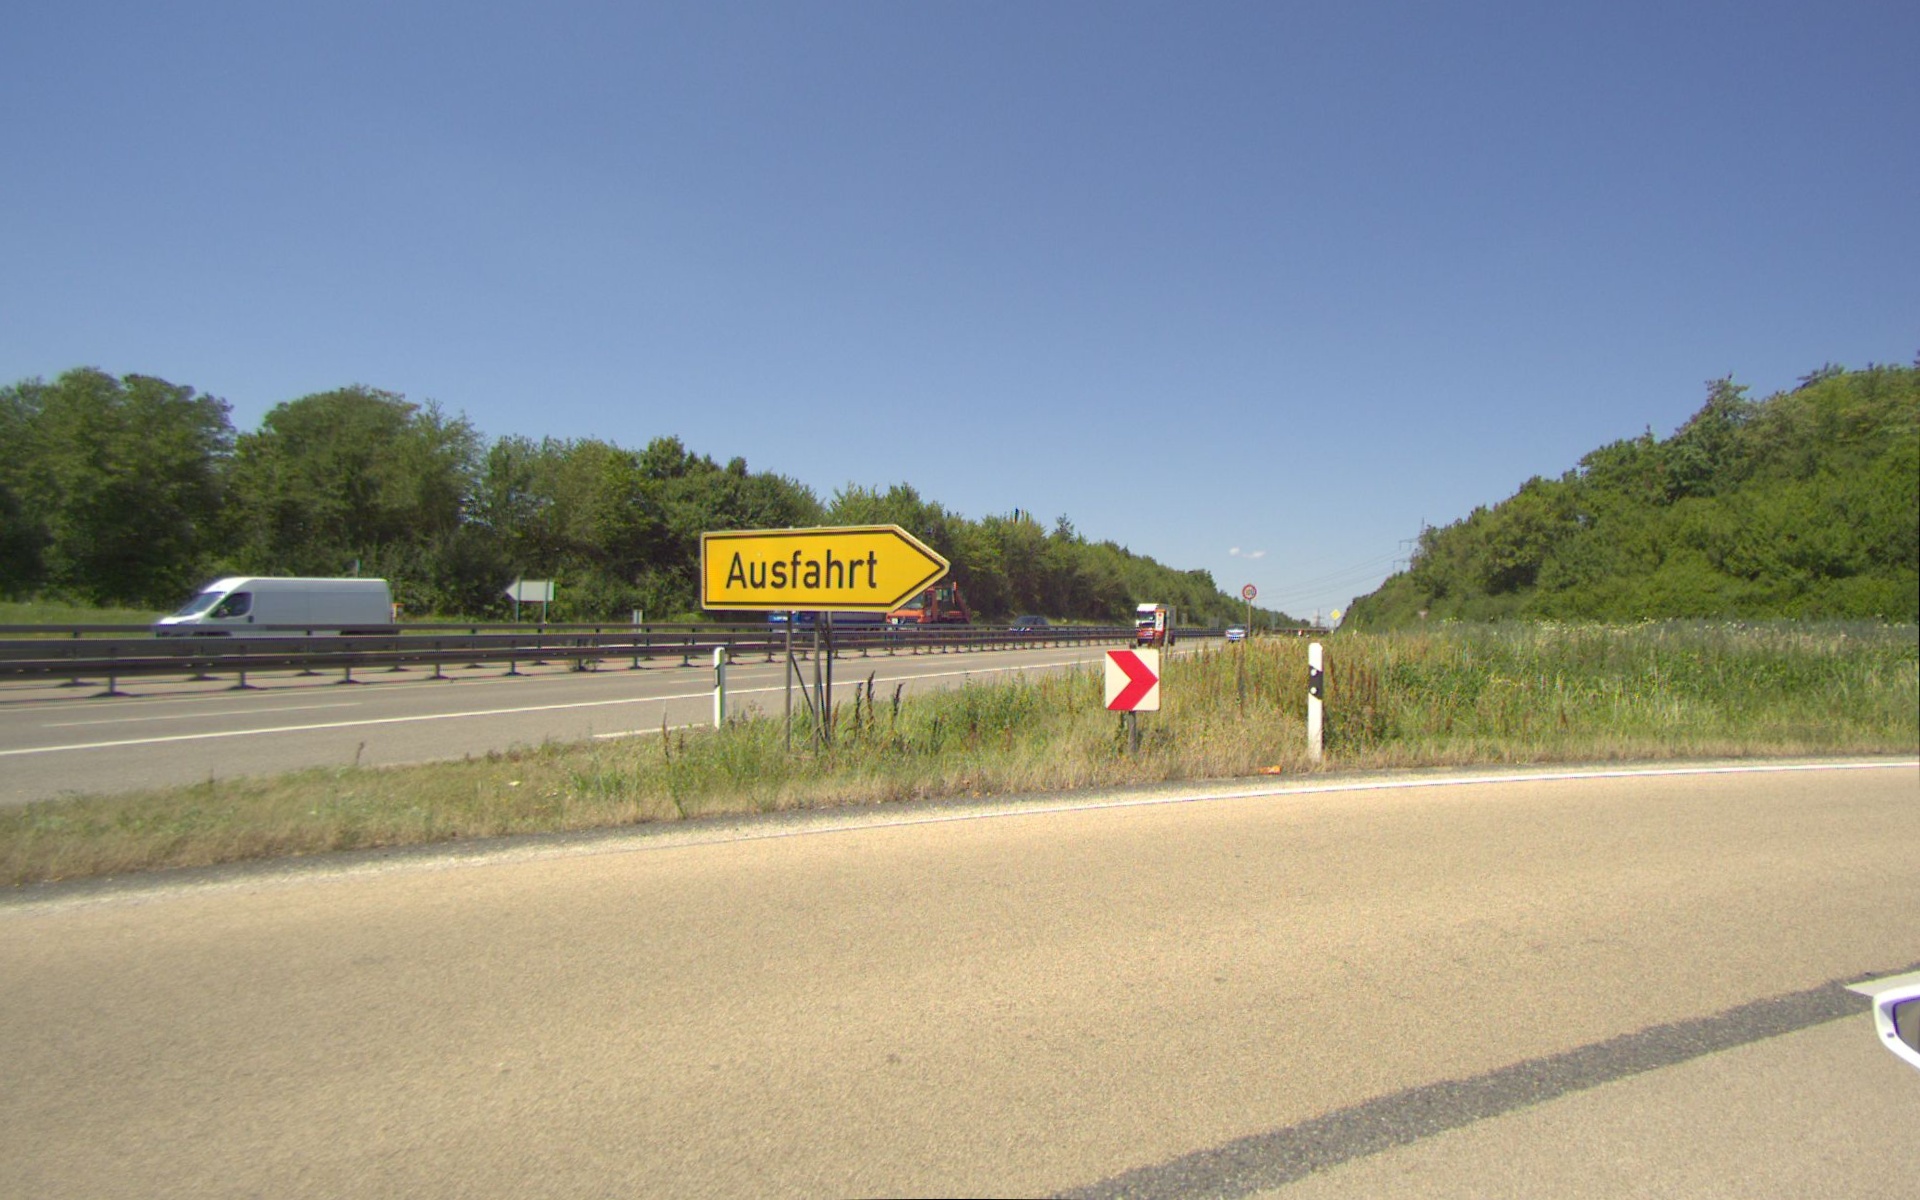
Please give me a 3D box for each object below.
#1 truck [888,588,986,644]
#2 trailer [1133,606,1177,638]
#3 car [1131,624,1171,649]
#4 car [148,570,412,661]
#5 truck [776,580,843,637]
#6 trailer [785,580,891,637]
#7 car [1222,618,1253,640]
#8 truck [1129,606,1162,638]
[{"bbox_3d":[-1.217,0.970,60.323,2.553,3.103,8.200,0,-1,24],"label":"truck"},{"bbox_3d":[25.884,2.878,132.641,2.865,3.992,13.269,0,-1,23],"label":"trailer"},{"bbox_3d":[12.329,2.318,64.718,1.717,1.574,3.376,0,-1,26],"label":"car"},{"bbox_3d":[-21.366,0.465,31.987,2.126,2.571,6.683,1,0,31],"label":"car"},{"bbox_3d":[-8.317,0.485,55.646,2.275,3.049,3.070,0,0,30],"label":"truck"},{"bbox_3d":[-6.914,0.504,58.082,2.264,3.049,7.208,0,0,30],"label":"trailer"},{"bbox_3d":[20.831,2.188,75.342,1.717,1.598,3.376,-1,-1,26],"label":"car"},{"bbox_3d":[23.510,2.759,127.140,2.865,3.992,5.415,0,-1,23],"label":"truck"}]
